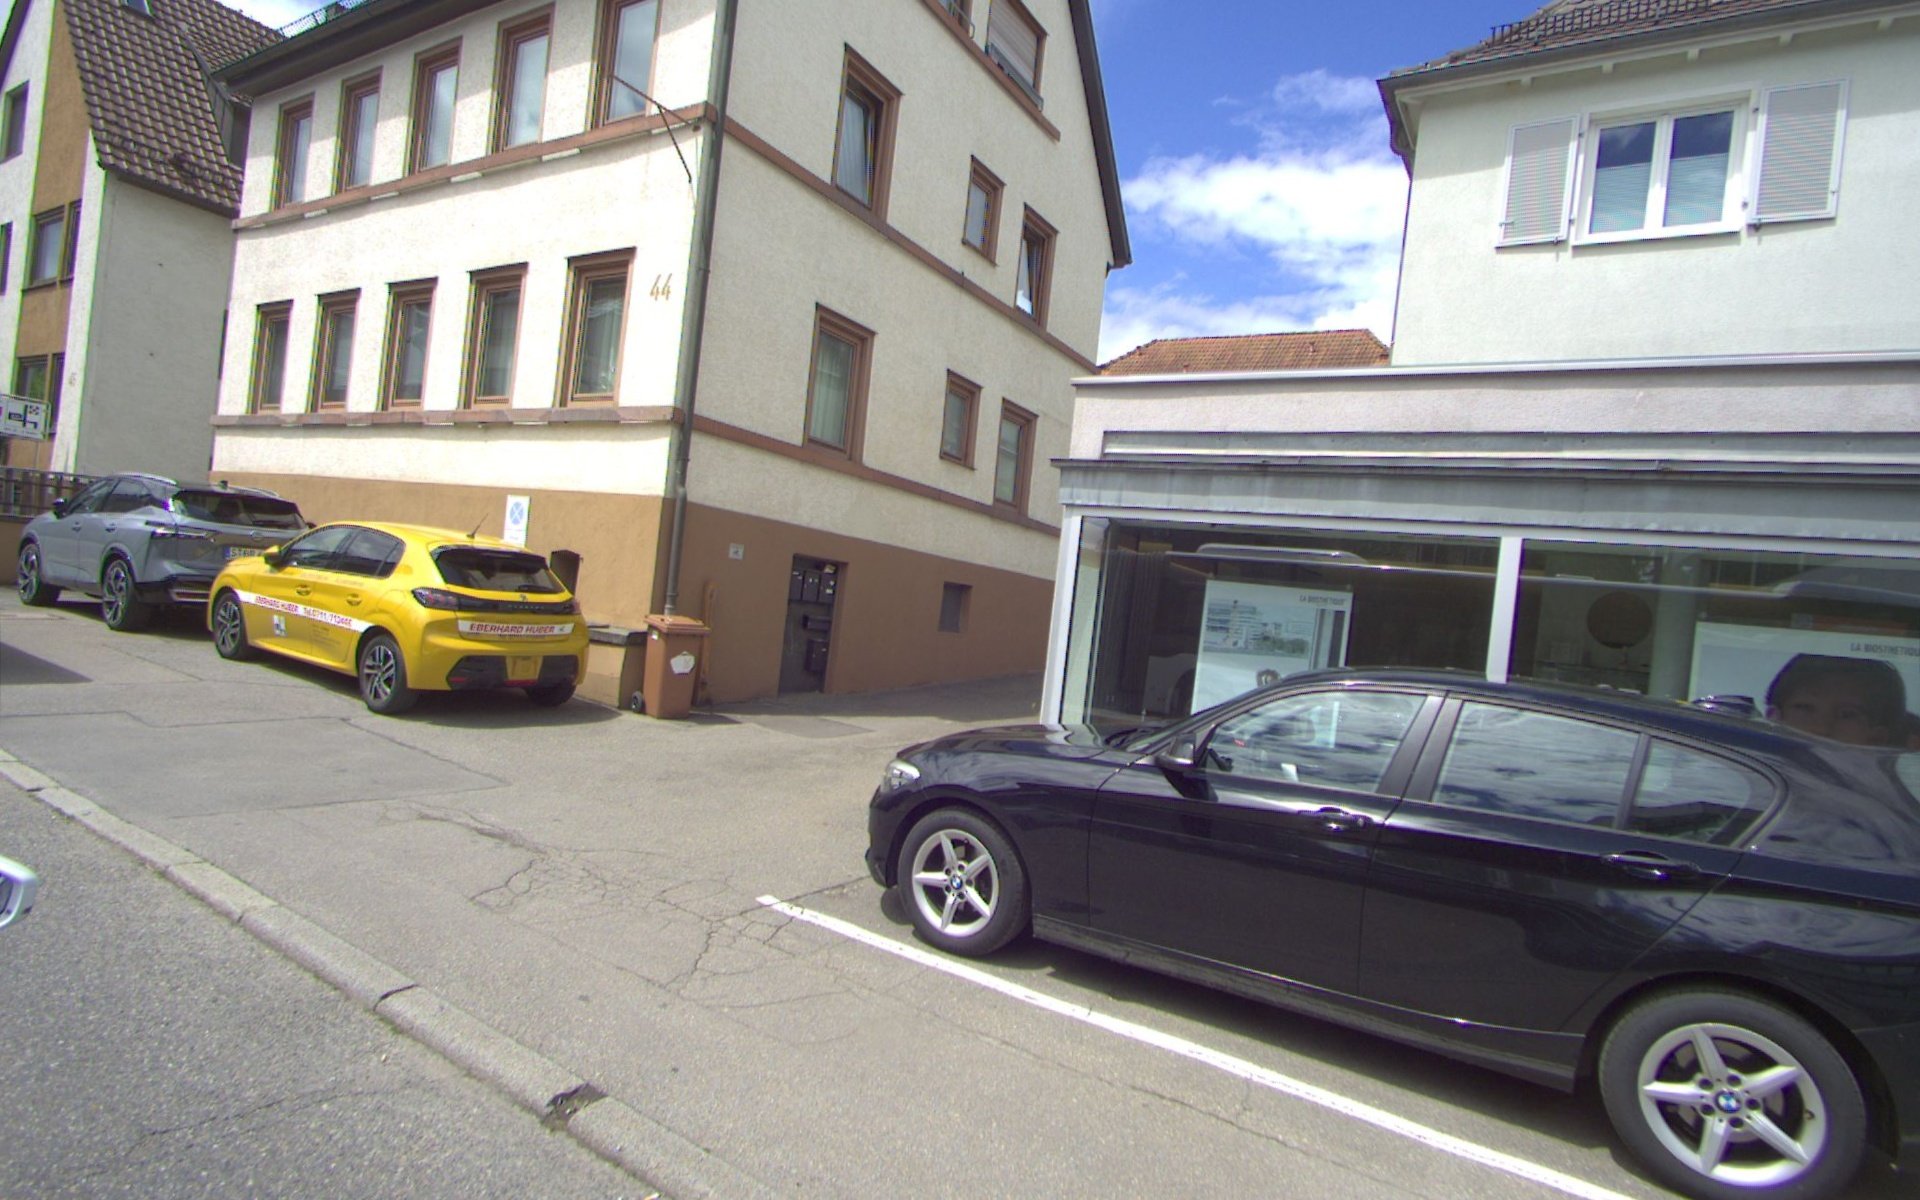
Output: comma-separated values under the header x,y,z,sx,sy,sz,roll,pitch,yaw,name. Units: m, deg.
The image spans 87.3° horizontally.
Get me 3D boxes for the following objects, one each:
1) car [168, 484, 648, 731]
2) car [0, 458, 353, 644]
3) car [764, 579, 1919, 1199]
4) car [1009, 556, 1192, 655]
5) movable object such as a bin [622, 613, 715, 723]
x,y,z,sx,sy,sz,roll,pitch,yaw,name
-5.136,-0.008,9.229,4.234,1.466,1.879,9,2,31,car
-9.184,-0.606,11.572,4.510,1.633,1.861,7,1,32,car
1.576,0.921,4.286,4.459,1.466,1.970,7,0,31,car
3.295,0.093,23.768,3.715,1.928,1.844,6,3,33,car
-2.720,0.631,9.387,0.589,0.936,0.501,7,1,37,movable object such as a bin
